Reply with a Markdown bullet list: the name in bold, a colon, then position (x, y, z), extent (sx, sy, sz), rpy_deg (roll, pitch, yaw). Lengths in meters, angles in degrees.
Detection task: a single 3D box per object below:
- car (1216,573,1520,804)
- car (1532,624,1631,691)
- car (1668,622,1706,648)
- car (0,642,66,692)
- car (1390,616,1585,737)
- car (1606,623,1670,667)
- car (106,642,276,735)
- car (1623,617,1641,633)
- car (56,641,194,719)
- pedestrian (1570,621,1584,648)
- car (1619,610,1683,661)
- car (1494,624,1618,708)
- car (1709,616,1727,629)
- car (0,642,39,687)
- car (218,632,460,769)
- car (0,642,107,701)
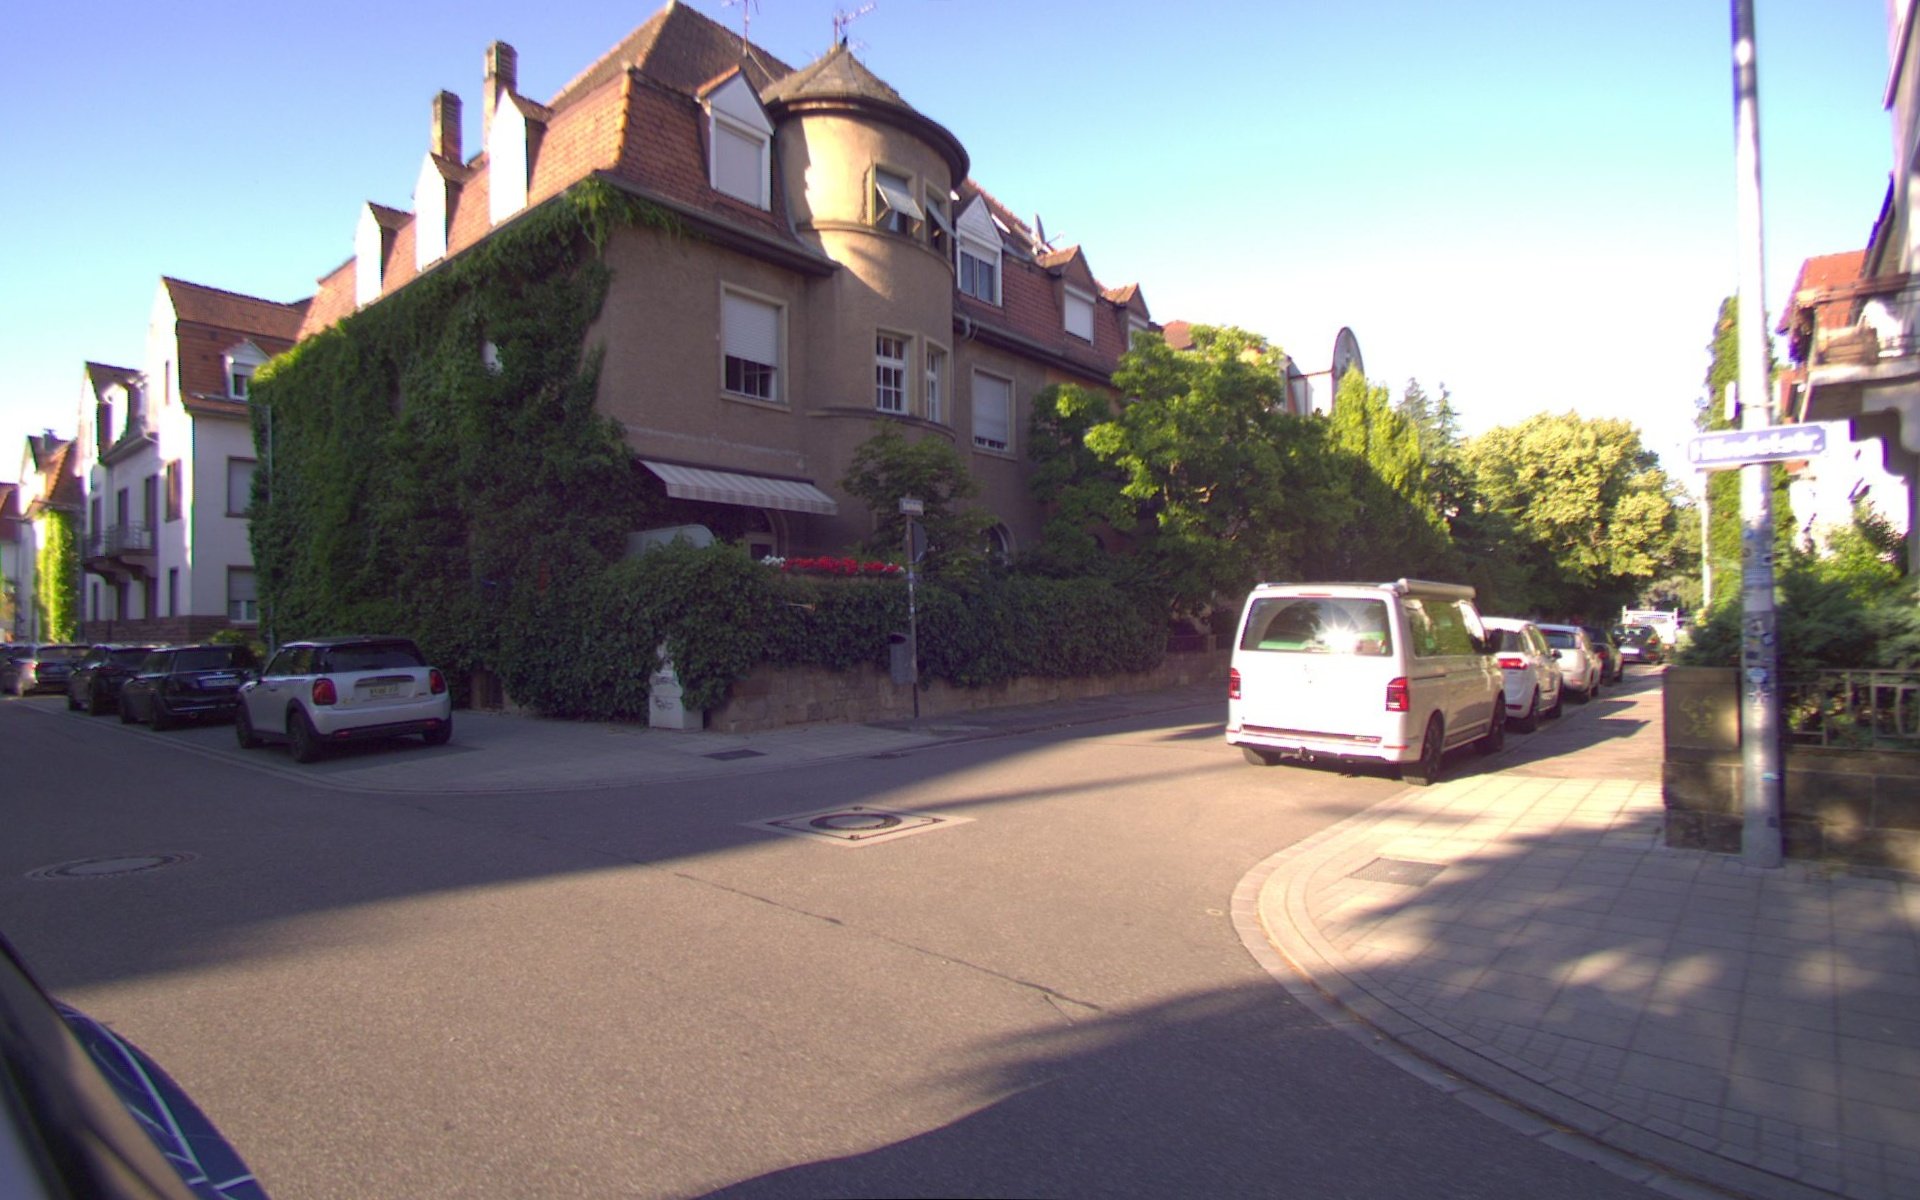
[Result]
- **car**: position (4.697, 0.806, 11.245), extent (1.997, 2.029, 4.358), rpy_deg (0, -1, 38)
- **car**: position (15.604, 1.365, 25.308), extent (1.663, 1.479, 4.144), rpy_deg (0, -1, 38)
- **car**: position (43.684, 2.064, 60.778), extent (1.663, 1.479, 4.144), rpy_deg (0, -1, 38)
- **car**: position (-30.409, 2.139, 32.719), extent (3.839, 1.458, 1.637), rpy_deg (-3, -1, 39)
- **car**: position (8.465, 1.081, 16.034), extent (1.997, 1.600, 4.251), rpy_deg (1, -1, 38)
- **car**: position (24.724, 1.581, 36.854), extent (1.663, 1.479, 4.144), rpy_deg (0, -1, 38)
- **car**: position (-13.579, 1.496, 17.810), extent (3.719, 1.390, 1.669), rpy_deg (-3, -1, 41)
- **car**: position (79.833, 3.018, 120.222), extent (1.690, 1.852, 3.834), rpy_deg (-2, -2, 35)
- **car**: position (-17.828, 1.650, 21.550), extent (4.096, 1.431, 1.632), rpy_deg (-3, -1, 41)
- **pedestrian**: position (42.246, 2.369, 69.298), extent (0.662, 1.793, 0.582), rpy_deg (-2, -3, 38)
- **car**: position (28.743, 1.446, 42.057), extent (1.912, 1.963, 4.144), rpy_deg (0, -1, 38)
- **car**: position (12.283, 1.265, 20.751), extent (1.663, 1.479, 4.144), rpy_deg (0, -1, 38)
- **car**: position (92.803, 2.725, 123.869), extent (1.663, 1.479, 4.144), rpy_deg (0, -1, 38)
- **car**: position (-33.800, 2.268, 35.618), extent (3.762, 1.497, 1.636), rpy_deg (-3, -1, 41)
- **car**: position (-8.238, 1.213, 13.291), extent (3.917, 1.471, 1.686), rpy_deg (-3, -1, 42)
- **car**: position (-25.951, 1.991, 28.716), extent (4.771, 1.472, 1.775), rpy_deg (-3, -1, 39)
